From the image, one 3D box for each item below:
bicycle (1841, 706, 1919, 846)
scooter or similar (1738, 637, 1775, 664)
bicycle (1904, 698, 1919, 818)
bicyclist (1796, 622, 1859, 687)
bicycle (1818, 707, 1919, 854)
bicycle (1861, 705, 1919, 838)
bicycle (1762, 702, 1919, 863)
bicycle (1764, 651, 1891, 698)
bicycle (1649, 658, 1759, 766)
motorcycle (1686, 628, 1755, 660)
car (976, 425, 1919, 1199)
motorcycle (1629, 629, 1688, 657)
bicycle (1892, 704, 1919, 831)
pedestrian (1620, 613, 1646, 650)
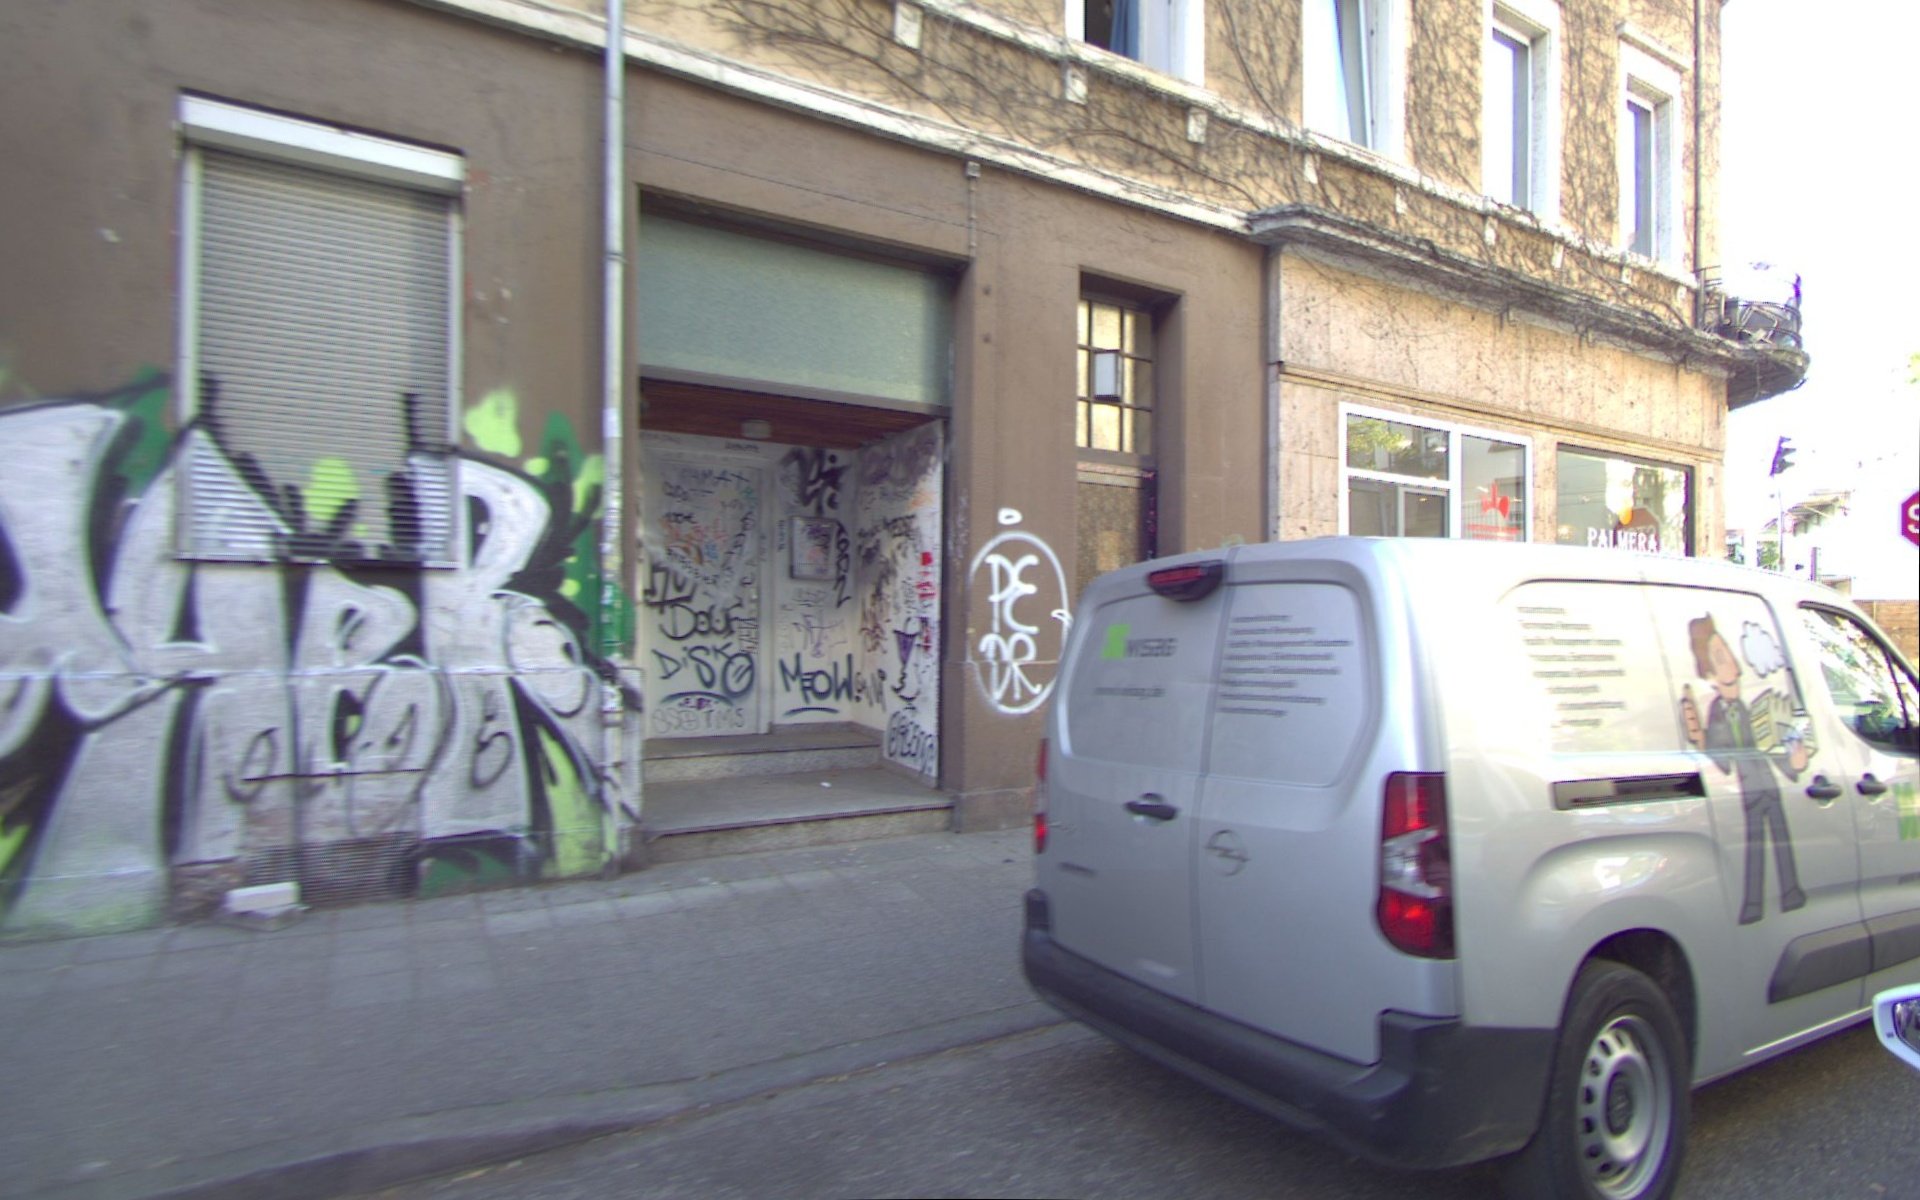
[{"bbox_3d":[7.440,1.310,7.118,0.417,0.974,1.756,1,-2,-31],"label":"bicycle"},{"bbox_3d":[31.167,1.971,39.313,1.464,1.033,0.384,0,-1,-19],"label":"scooter or similar"},{"bbox_3d":[8.654,1.318,7.895,0.424,0.974,1.752,1,-2,-37],"label":"bicycle"},{"bbox_3d":[22.749,1.411,26.342,0.887,1.661,1.089,3,-2,-36],"label":"bicyclist"},{"bbox_3d":[7.085,1.293,6.909,0.401,0.974,1.756,1,-2,-31],"label":"bicycle"},{"bbox_3d":[7.806,1.325,7.347,0.438,0.974,1.756,1,-2,-31],"label":"bicycle"},{"bbox_3d":[6.615,1.259,6.834,0.458,1.002,1.756,1,-2,-30],"label":"bicycle"},{"bbox_3d":[22.712,1.938,26.345,0.887,1.107,2.405,3,-2,-36],"label":"bicycle"},{"bbox_3d":[8.209,1.203,11.066,1.573,1.106,0.396,2,-2,-31],"label":"bicycle"},{"bbox_3d":[30.938,1.790,40.877,2.167,1.274,0.543,-1,-1,16],"label":"motorcycle"},{"bbox_3d":[2.406,0.701,3.907,4.466,1.934,1.672,1,-5,-30],"label":"car"},{"bbox_3d":[32.566,2.012,46.857,2.167,1.274,0.543,-1,-1,16],"label":"motorcycle"},{"bbox_3d":[8.308,1.344,7.637,0.478,0.974,1.749,1,-2,-42],"label":"bicycle"},{"bbox_3d":[37.309,1.753,55.680,0.926,2.040,0.798,0,-1,-26],"label":"pedestrian"}]
